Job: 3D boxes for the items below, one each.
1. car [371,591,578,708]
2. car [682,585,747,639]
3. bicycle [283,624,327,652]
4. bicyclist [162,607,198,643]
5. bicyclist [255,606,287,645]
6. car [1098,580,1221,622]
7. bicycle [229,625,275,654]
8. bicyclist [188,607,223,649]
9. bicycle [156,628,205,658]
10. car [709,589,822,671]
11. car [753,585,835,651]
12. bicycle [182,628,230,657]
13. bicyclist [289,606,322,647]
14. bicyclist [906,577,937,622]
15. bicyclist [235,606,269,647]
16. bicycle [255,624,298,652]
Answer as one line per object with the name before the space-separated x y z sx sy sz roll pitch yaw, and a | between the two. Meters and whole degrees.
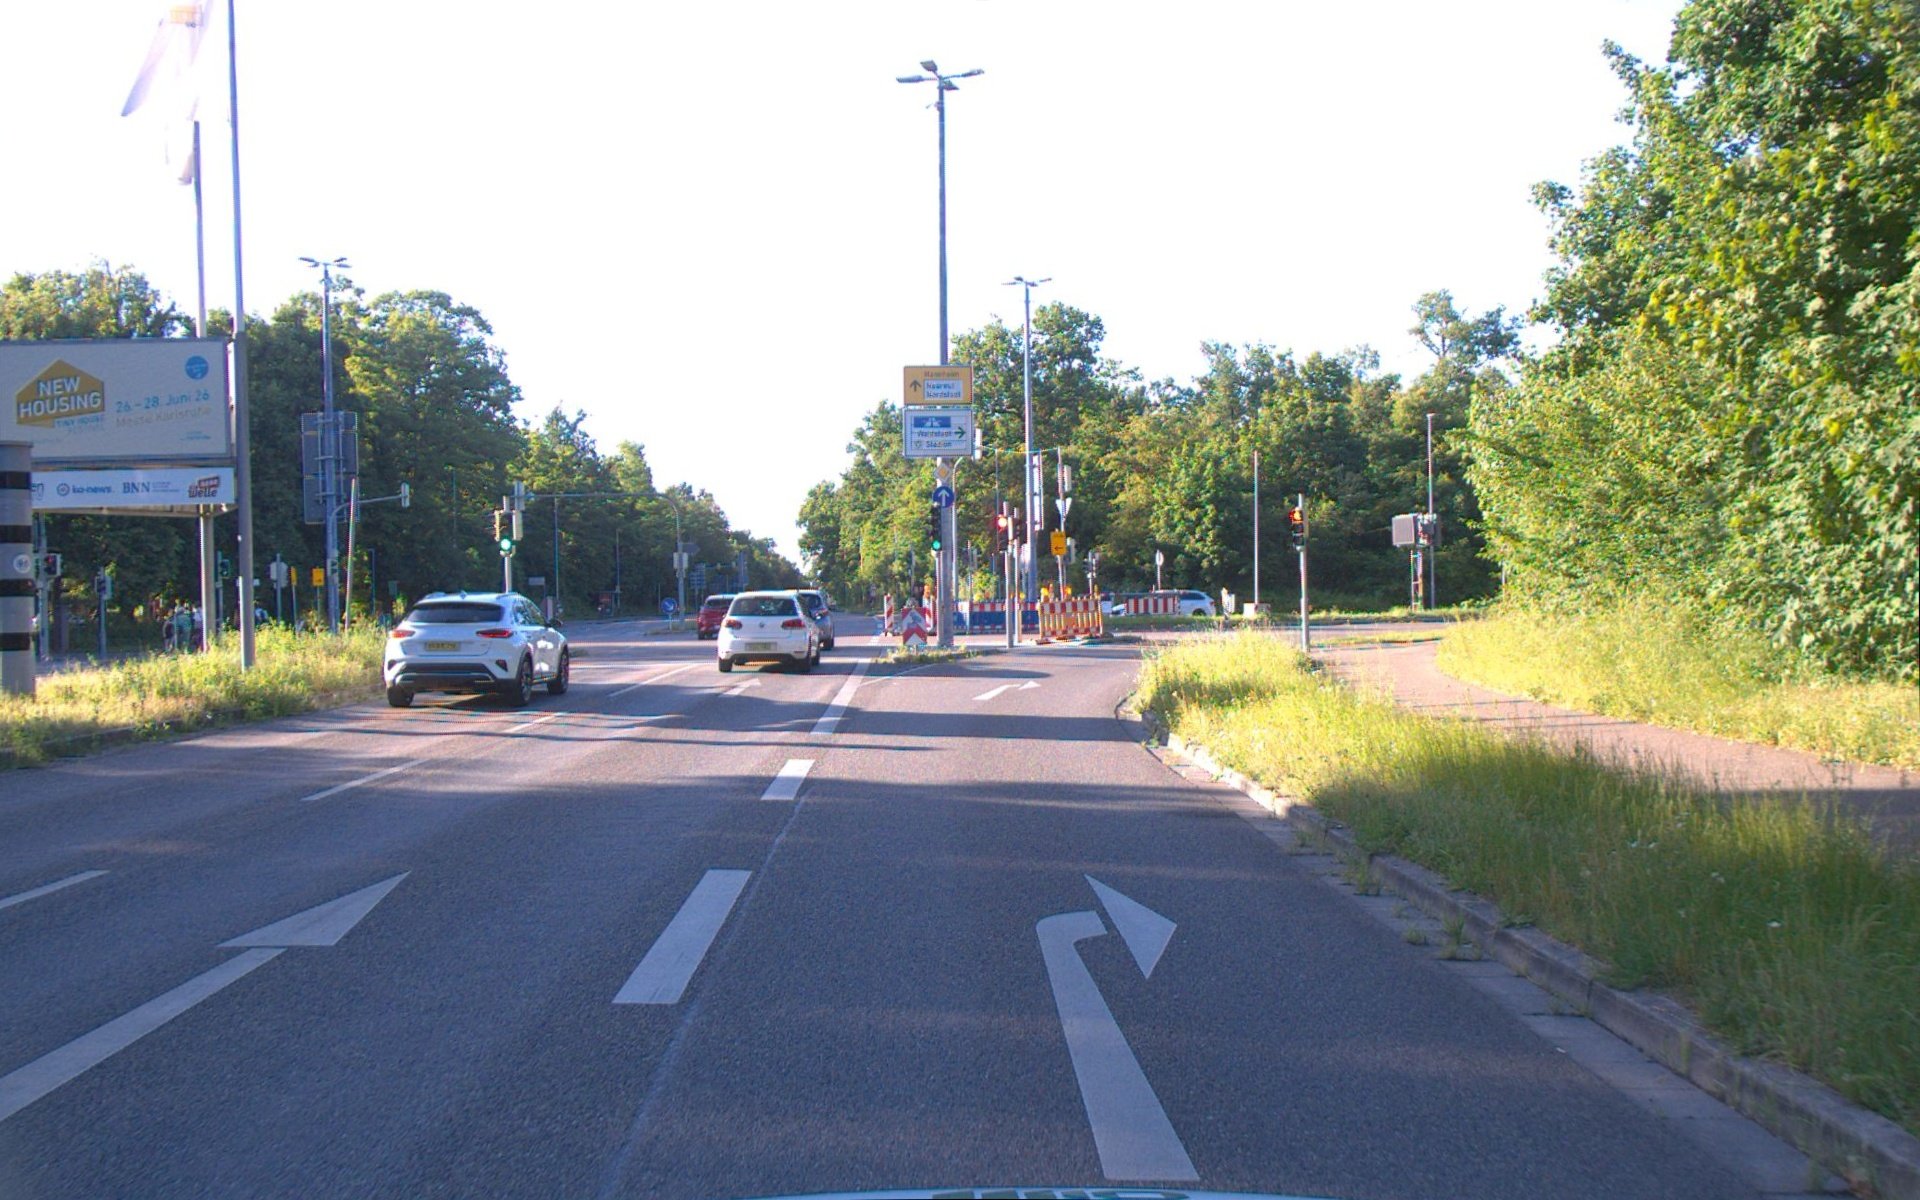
car | -6.639 0.619 23.039 1.826 1.469 3.998 0 0 -2
car | -8.295 0.397 56.113 1.955 1.714 3.995 -1 0 -6
bicycle | -22.735 1.314 57.443 0.700 0.930 1.911 -1 0 1
bicyclist | -26.686 0.851 56.599 0.700 1.213 0.990 -1 0 1
bicyclist | -24.599 0.906 59.077 0.700 1.365 0.990 -1 0 1
car | 8.332 0.033 68.945 4.754 1.608 1.985 -1 0 -24
bicycle | -24.578 1.366 57.443 0.700 0.930 1.911 -1 0 1
bicyclist | -25.793 0.950 56.523 0.696 1.414 0.990 -1 0 1
bicycle | -26.670 1.454 56.598 0.700 0.930 1.911 -1 1 1
car | -3.711 0.535 32.159 1.901 1.439 3.998 -1 0 -3
car | -4.266 0.437 42.411 1.955 1.563 3.995 -1 0 -6
bicycle | -25.777 1.439 56.557 0.700 0.930 1.911 -1 0 1
bicyclist | -22.740 0.913 57.502 0.700 1.362 0.990 -1 0 1
bicyclist | -1.666 -0.029 71.907 1.004 1.963 0.957 0 0 -34
bicyclist | -24.587 0.924 57.439 0.700 1.379 0.990 -1 0 1
bicycle | -24.580 1.351 59.536 0.700 0.930 1.911 -1 0 1
